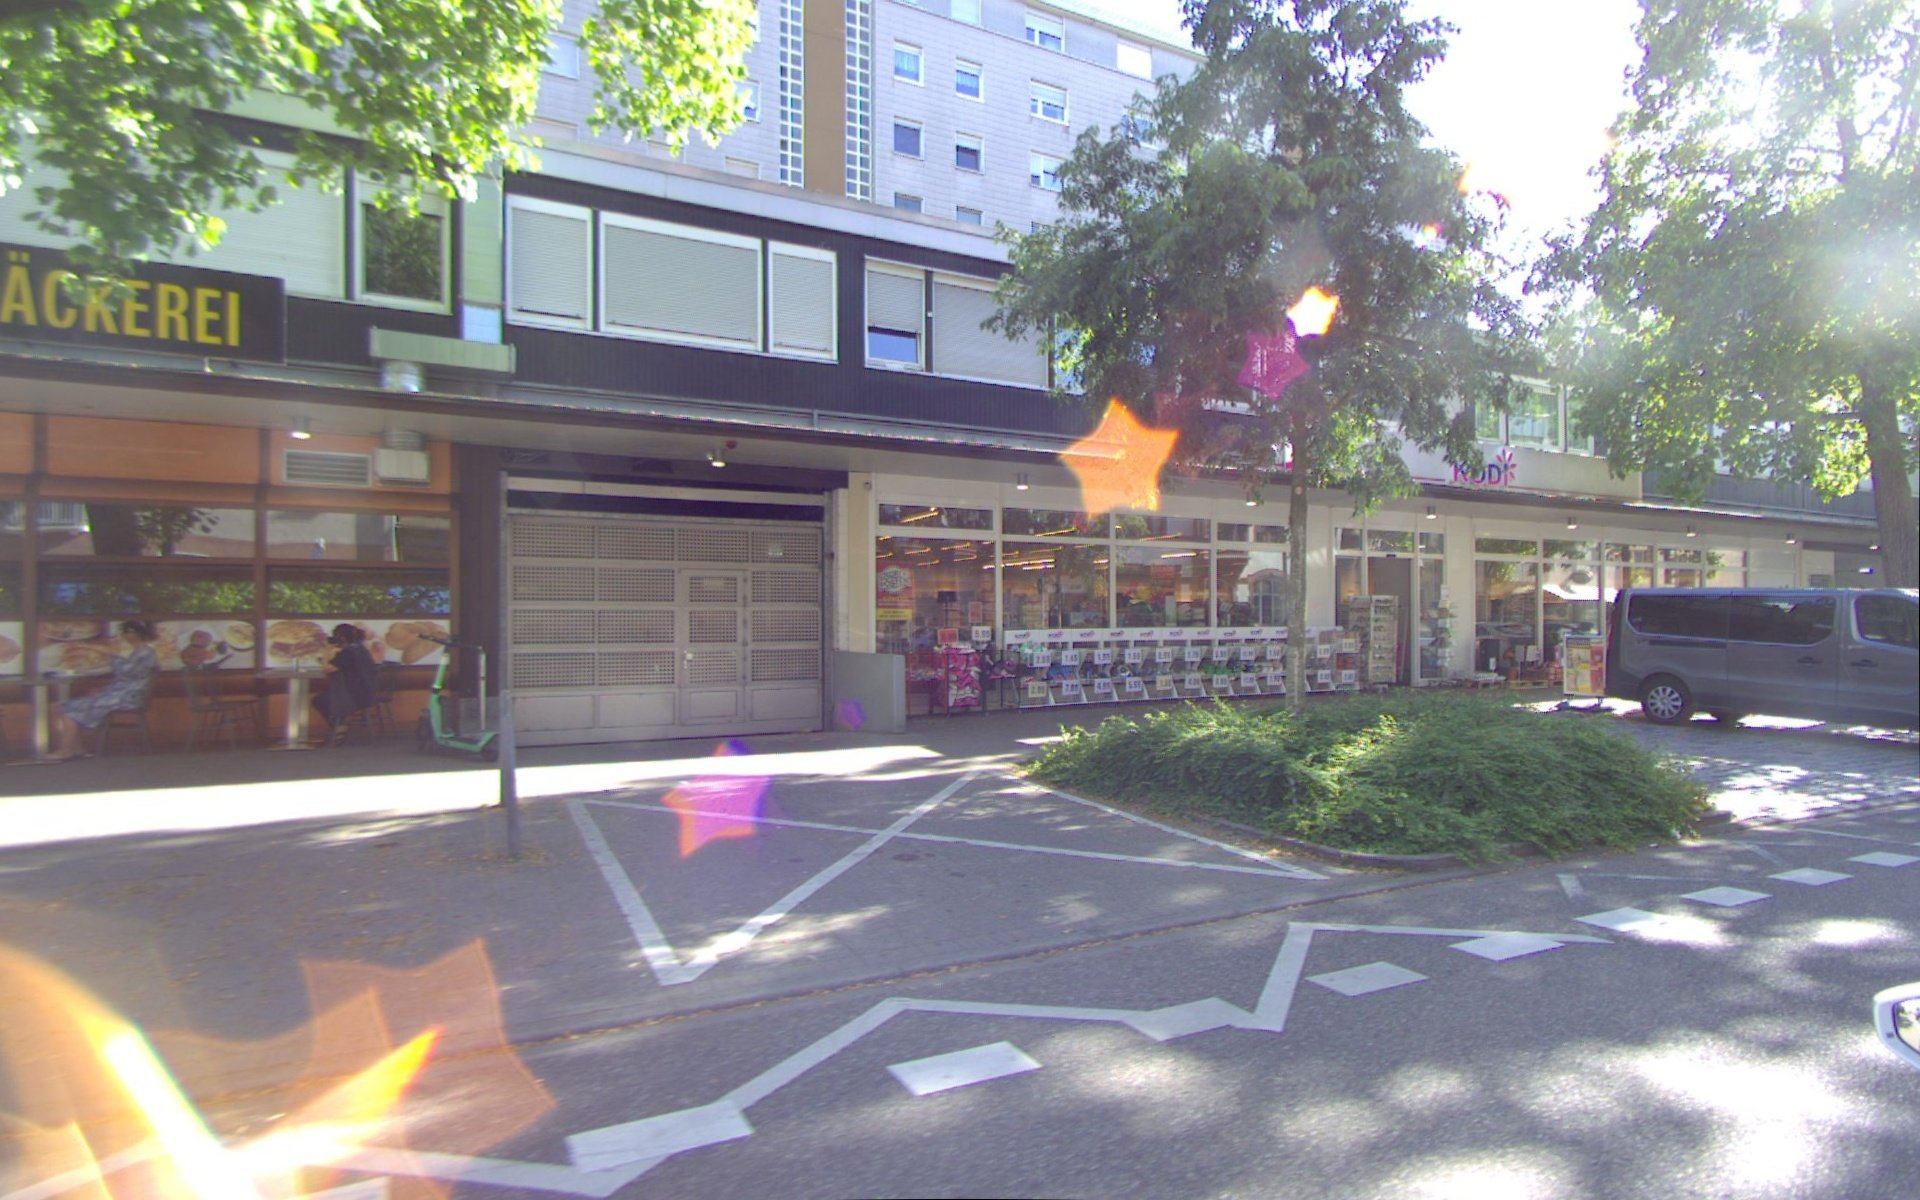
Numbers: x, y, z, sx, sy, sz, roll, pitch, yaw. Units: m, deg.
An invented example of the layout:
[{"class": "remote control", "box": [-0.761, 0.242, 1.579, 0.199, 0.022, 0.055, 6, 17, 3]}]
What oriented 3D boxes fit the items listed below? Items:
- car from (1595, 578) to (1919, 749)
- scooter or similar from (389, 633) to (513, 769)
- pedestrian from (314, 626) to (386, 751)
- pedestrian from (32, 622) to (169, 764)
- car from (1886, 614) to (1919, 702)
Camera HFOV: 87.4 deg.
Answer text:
[{"class": "car", "box": [11.621, 0.744, 13.201, 1.989, 2.000, 5.273, 0, 0, -27]}, {"class": "scooter or similar", "box": [-5.087, 0.972, 10.021, 1.294, 1.240, 0.457, 1, 0, 30]}, {"class": "pedestrian", "box": [-6.335, 0.901, 10.454, 0.629, 1.257, 0.326, 0, -1, -31]}, {"class": "pedestrian", "box": [-8.192, 0.857, 9.614, 0.888, 1.281, 0.605, 0, -1, -31]}, {"class": "car", "box": [18.619, 1.055, 17.305, 1.662, 1.572, 3.586, 1, 0, -26]}]
